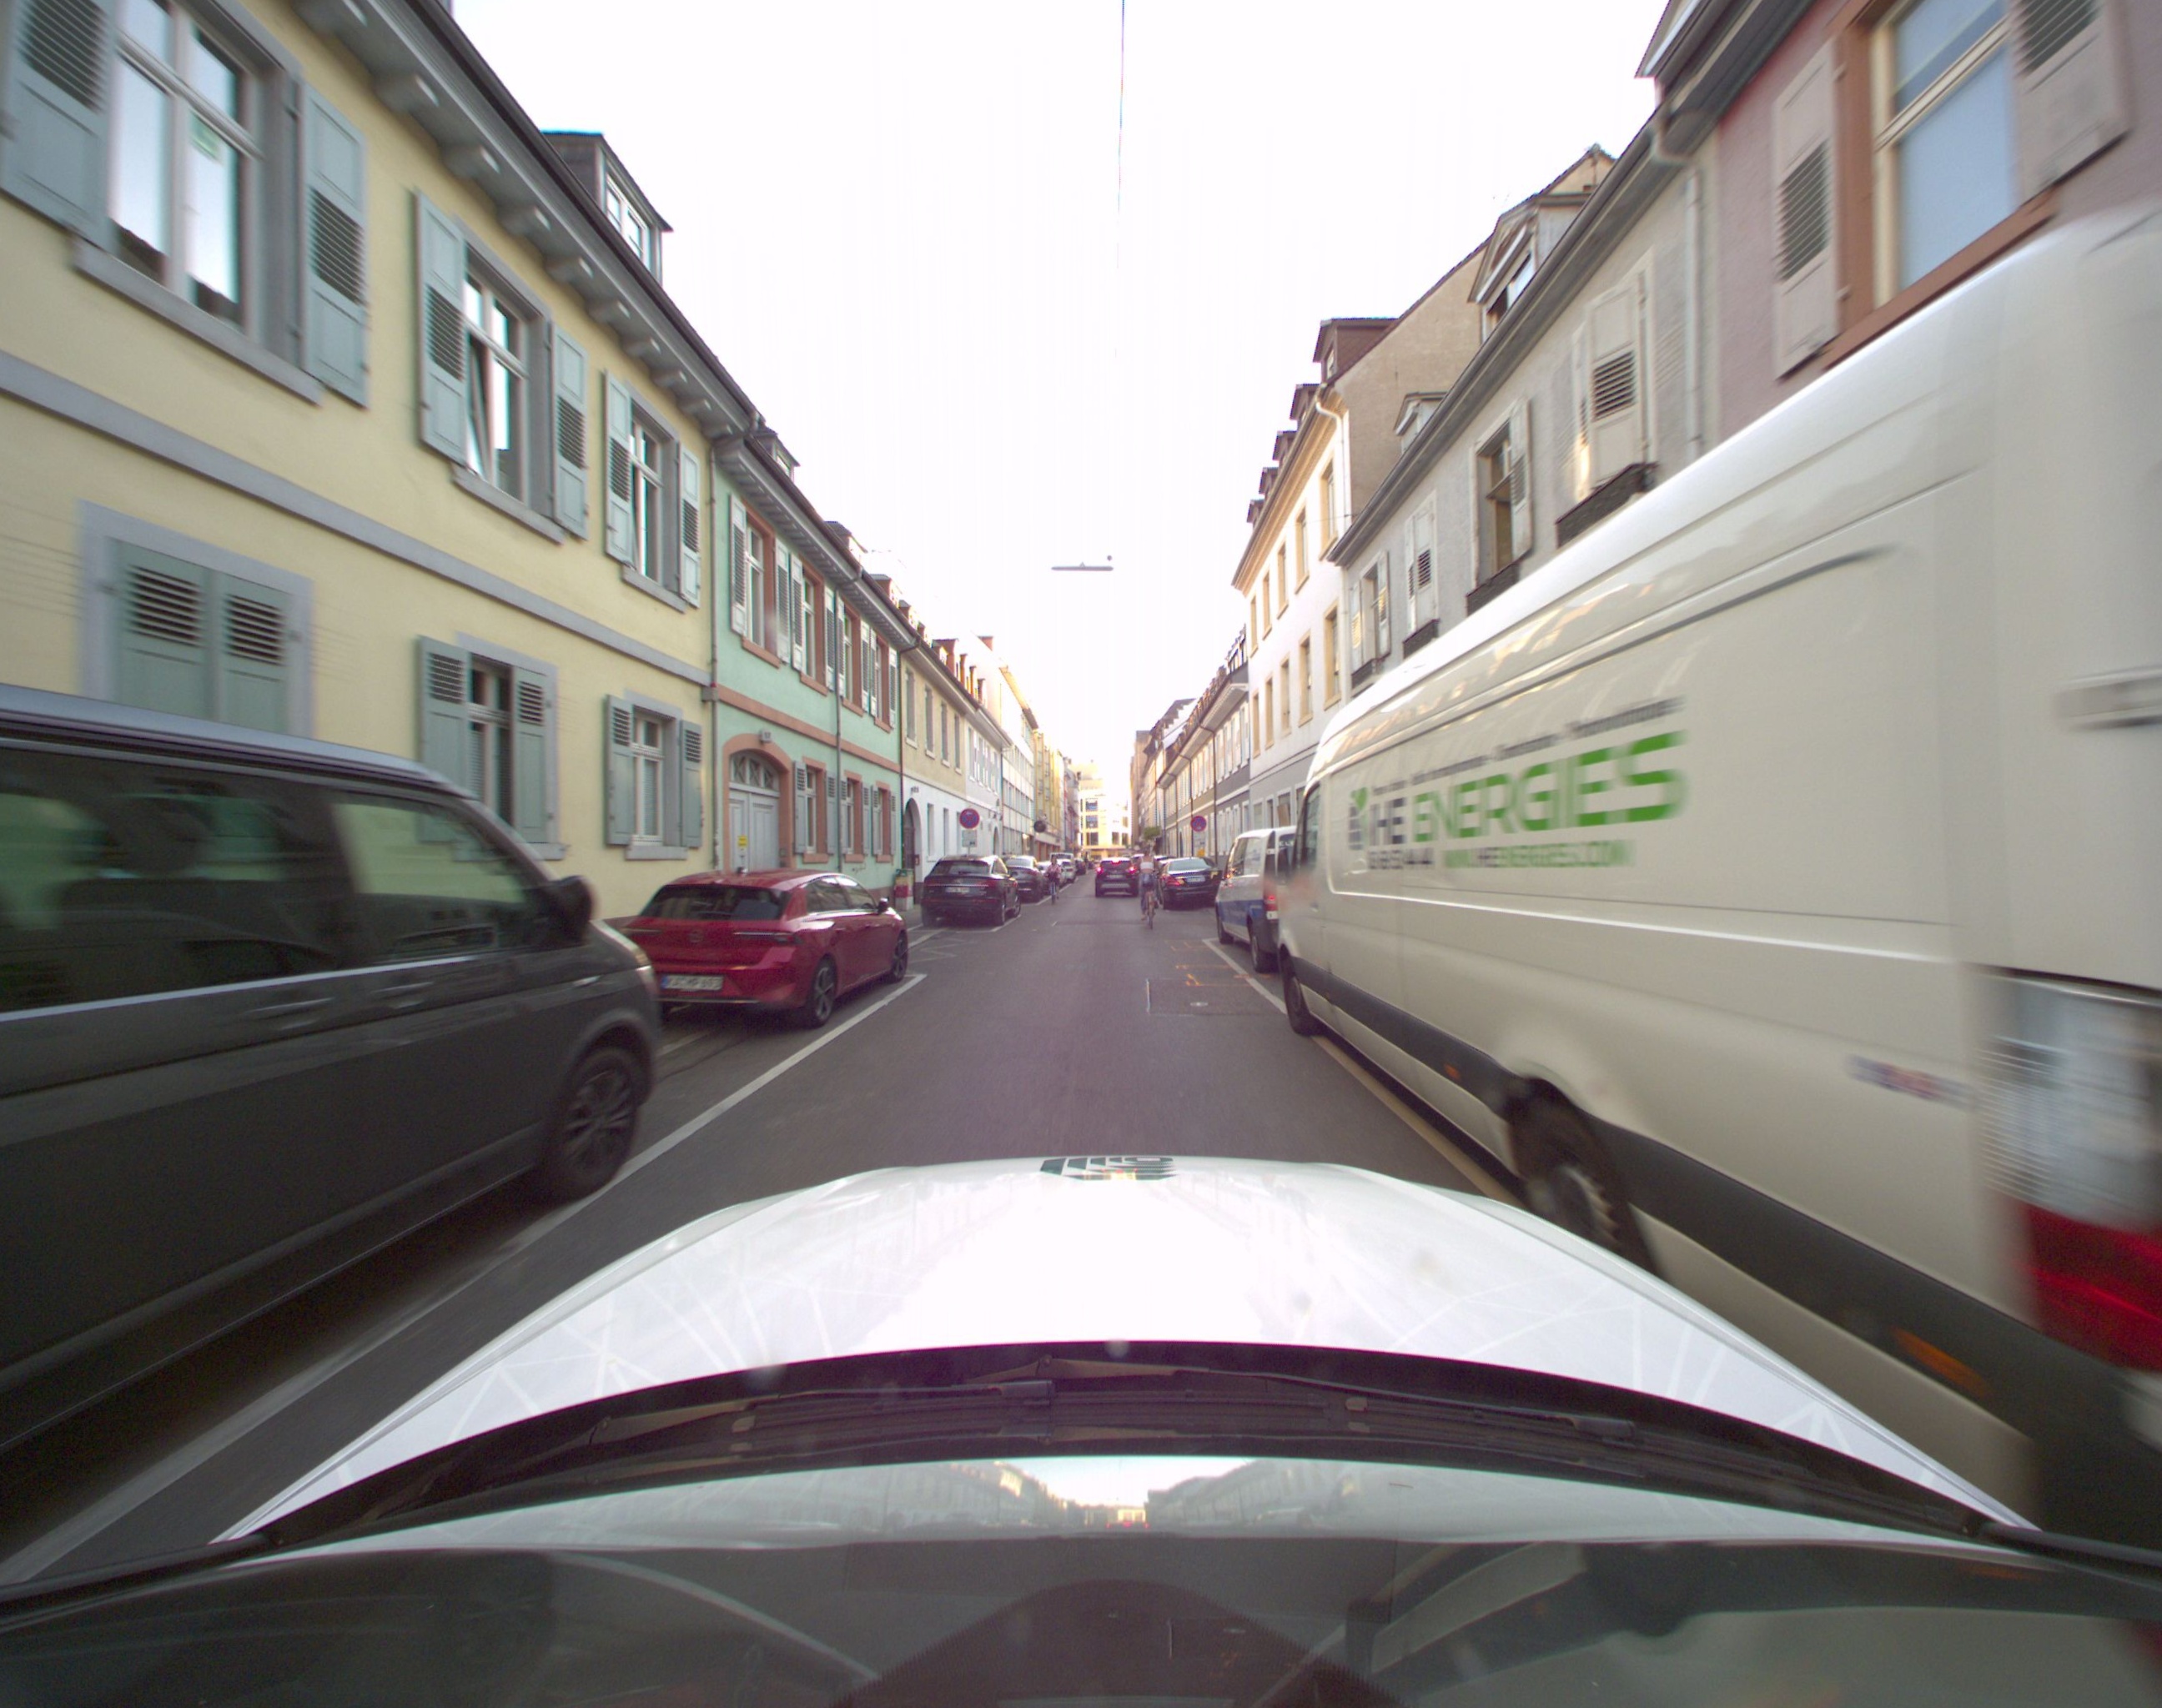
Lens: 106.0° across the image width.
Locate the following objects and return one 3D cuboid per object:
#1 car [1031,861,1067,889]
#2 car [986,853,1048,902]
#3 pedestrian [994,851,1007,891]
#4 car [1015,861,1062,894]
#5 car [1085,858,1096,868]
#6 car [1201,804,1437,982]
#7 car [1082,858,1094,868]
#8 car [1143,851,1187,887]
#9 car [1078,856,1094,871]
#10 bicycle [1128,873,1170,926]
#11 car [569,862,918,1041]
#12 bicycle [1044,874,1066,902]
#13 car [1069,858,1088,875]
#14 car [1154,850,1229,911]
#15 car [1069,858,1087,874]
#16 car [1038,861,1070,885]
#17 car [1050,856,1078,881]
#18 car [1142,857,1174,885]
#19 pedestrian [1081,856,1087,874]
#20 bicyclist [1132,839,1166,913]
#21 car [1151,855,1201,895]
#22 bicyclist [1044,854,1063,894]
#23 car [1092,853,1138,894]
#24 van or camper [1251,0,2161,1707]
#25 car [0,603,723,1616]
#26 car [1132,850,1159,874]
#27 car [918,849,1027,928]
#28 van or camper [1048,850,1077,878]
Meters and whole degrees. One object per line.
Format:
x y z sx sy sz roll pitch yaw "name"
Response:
-1.707 1.109 44.019 1.647 1.411 3.904 0 0 2 "car"
-2.360 0.847 31.144 1.991 1.707 4.535 0 0 0 "car"
-4.140 0.856 41.736 0.608 2.014 0.450 -1 -1 -1 "pedestrian"
-1.883 1.026 37.474 1.912 1.434 4.293 0 0 0 "car"
1.513 1.412 128.742 1.647 1.561 3.607 0 0 2 "car"
3.123 0.471 12.015 1.934 1.894 5.319 -5 -1 2 "car"
1.025 1.367 121.978 1.647 1.561 3.607 0 0 2 "car"
4.294 0.743 42.150 1.911 1.738 4.153 0 0 1 "car"
0.565 0.995 87.594 1.647 1.561 3.607 0 0 2 "car"
1.471 0.966 17.847 0.612 1.082 1.806 -1 -1 -4 "bicycle"
-3.137 0.801 8.646 1.758 1.401 4.265 -1 0 2 "car"
-0.911 1.175 28.694 0.611 0.932 1.888 -1 0 3 "bicycle"
-0.199 1.154 76.604 1.647 1.561 3.607 0 0 2 "car"
3.281 0.747 25.049 1.812 1.530 5.075 -5 -1 3 "car"
-0.311 1.215 81.914 1.647 1.561 3.607 0 0 2 "car"
-1.584 1.114 49.110 1.647 1.411 3.607 0 0 2 "car"
-1.118 0.944 54.084 1.647 1.561 3.607 0 0 2 "car"
4.383 0.949 46.902 1.647 1.561 3.607 0 0 2 "car"
0.253 1.118 80.364 0.552 1.752 0.568 -1 -1 -1 "pedestrian"
1.473 0.467 17.770 0.620 1.574 0.682 -1 -1 -5 "bicyclist"
3.683 0.791 32.058 1.670 1.486 4.002 0 0 2 "car"
-0.966 0.701 28.742 0.603 1.369 0.622 -1 -1 3 "bicyclist"
1.389 0.779 33.875 1.813 1.618 4.001 0 0 1 "car"
2.546 -0.005 4.427 2.042 2.637 7.067 -1 0 3 "van or camper"
-3.080 0.526 2.367 1.856 2.013 4.814 -1 0 1 "car"
4.290 0.538 54.503 1.647 1.561 3.607 0 0 2 "car"
-2.519 0.756 20.001 1.795 1.677 4.493 -1 0 3 "car"
-1.350 0.729 59.758 1.837 2.013 4.680 0 0 2 "van or camper"
